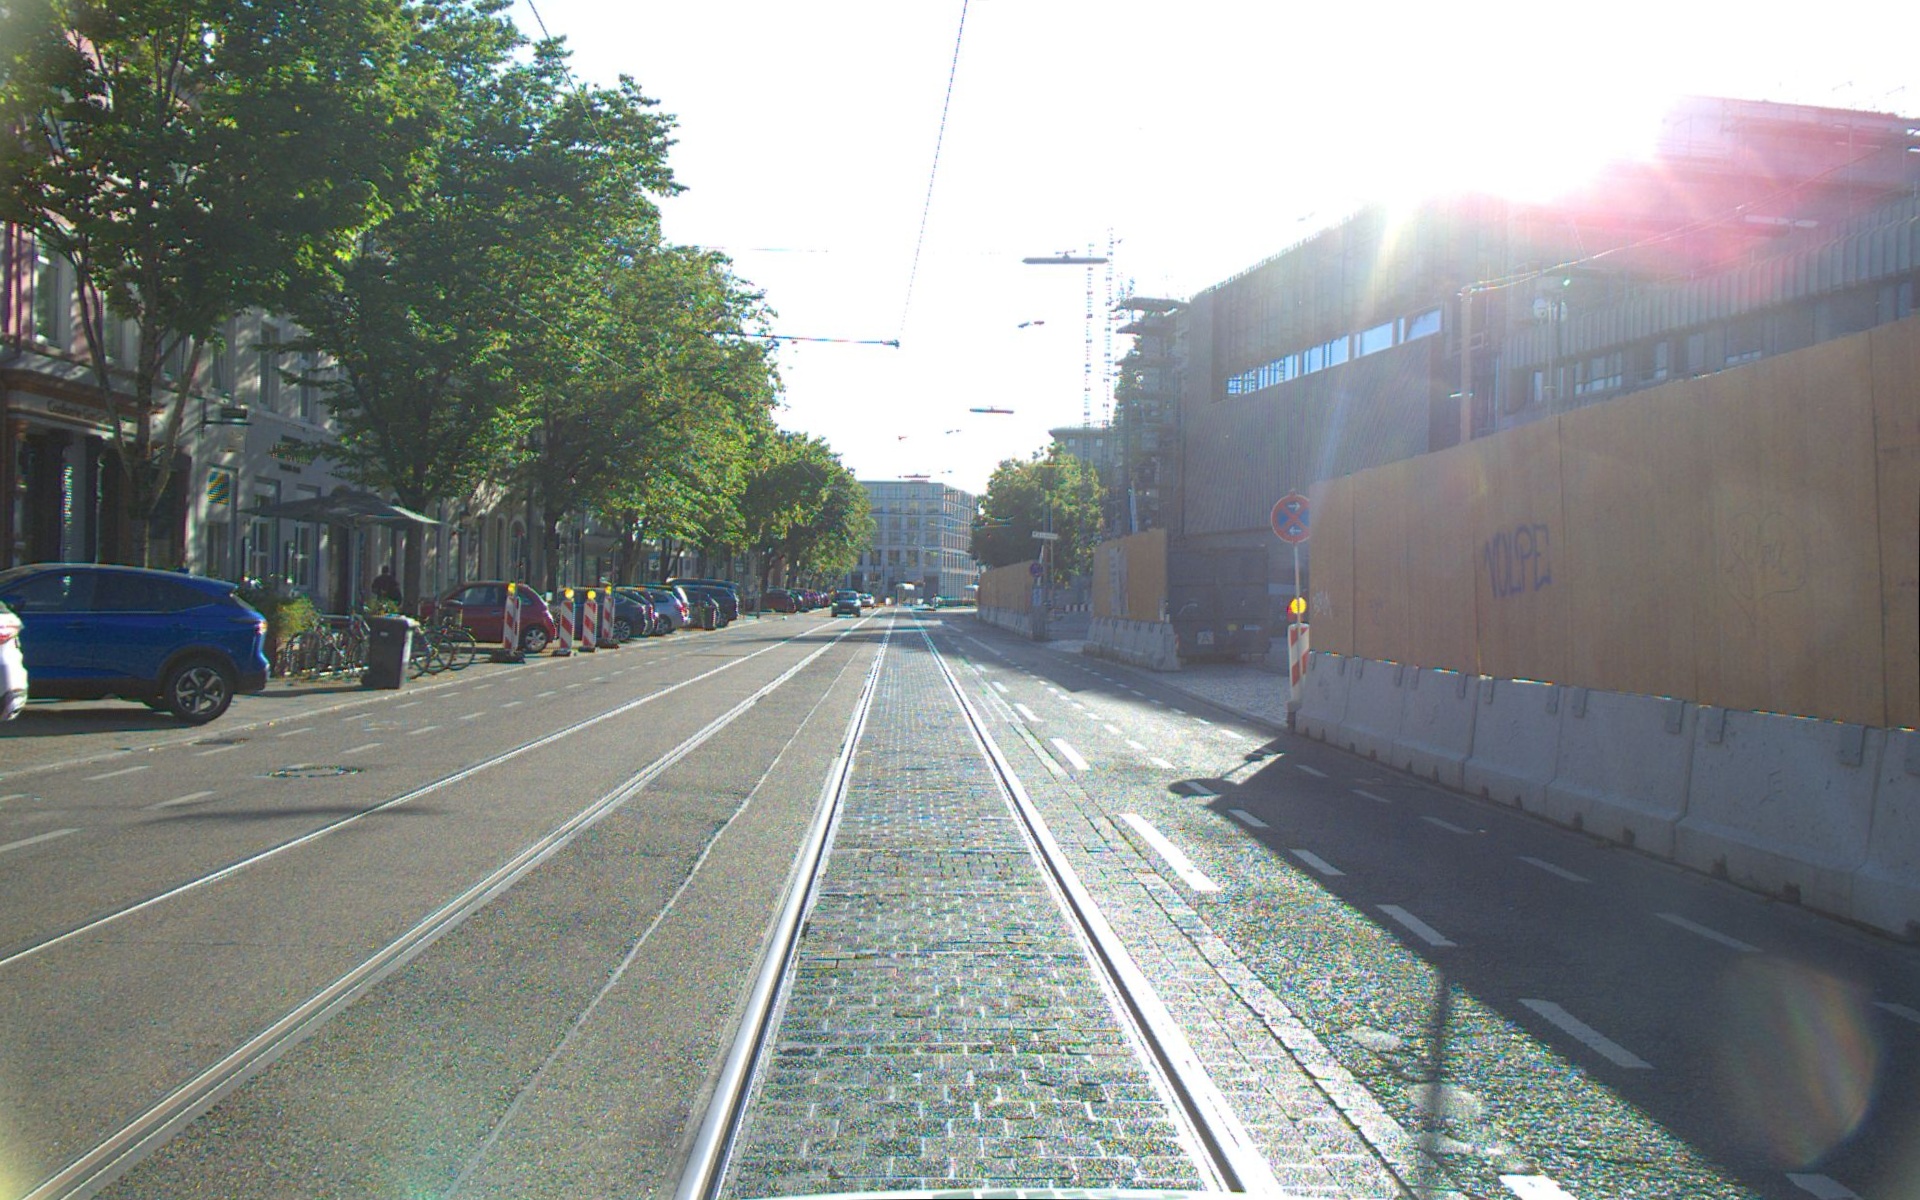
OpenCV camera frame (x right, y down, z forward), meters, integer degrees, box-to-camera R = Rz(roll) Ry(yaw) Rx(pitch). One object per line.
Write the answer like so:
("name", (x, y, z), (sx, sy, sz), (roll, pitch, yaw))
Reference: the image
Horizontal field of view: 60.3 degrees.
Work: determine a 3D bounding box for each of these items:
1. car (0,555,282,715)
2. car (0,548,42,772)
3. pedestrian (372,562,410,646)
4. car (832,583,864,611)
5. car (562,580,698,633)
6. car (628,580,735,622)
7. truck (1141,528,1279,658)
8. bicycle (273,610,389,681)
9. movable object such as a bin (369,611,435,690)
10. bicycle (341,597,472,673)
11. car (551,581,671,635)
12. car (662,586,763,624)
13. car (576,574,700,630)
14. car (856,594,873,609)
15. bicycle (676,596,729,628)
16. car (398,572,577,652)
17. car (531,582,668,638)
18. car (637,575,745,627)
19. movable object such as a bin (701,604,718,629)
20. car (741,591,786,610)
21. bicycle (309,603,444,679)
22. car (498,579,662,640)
("car", (-9.644, 0.381, 18.031), (3.864, 1.637, 1.551), (3, -2, -39))
("car", (-10.207, 0.442, 13.229), (4.879, 1.826, 2.184), (1, 0, -33))
("pedestrian", (-14.193, 0.098, 41.251), (0.716, 2.049, 0.556), (1, 0, -1))
("car", (-7.202, -0.231, 106.822), (1.889, 1.657, 4.247), (-2, 1, -3))
("car", (-11.017, 0.225, 55.220), (4.058, 1.539, 1.824), (3, 0, -29))
("car", (-11.743, 0.030, 69.674), (4.178, 1.714, 1.798), (0, 0, -23))
("truck", (6.148, -0.173, 41.392), (2.468, 2.959, 5.506), (-2, 0, -1))
("bicycle", (-9.562, 0.698, 25.189), (1.572, 1.005, 0.388), (2, 0, -13))
("movable object such as a bin", (-8.297, 0.740, 24.628), (0.670, 1.096, 0.710), (4, 0, -1))
("bicycle", (-9.430, 0.590, 28.203), (1.962, 1.106, 0.567), (5, 0, 0))
("car", (-11.035, 0.264, 52.318), (3.327, 1.519, 1.597), (3, 0, -30))
("car", (-10.105, 0.203, 67.393), (3.799, 1.502, 1.833), (0, 0, -20))
("car", (-11.375, 0.072, 58.670), (4.024, 1.707, 1.839), (3, 0, -5))
("car", (-9.698, 0.131, 167.914), (1.675, 1.461, 4.168), (1, 0, -4))
("bicycle", (-10.177, 0.478, 65.383), (1.937, 1.164, 0.490), (3, -1, -21))
("car", (-10.633, 0.274, 37.209), (3.572, 1.580, 1.654), (3, 1, -28))
("car", (-10.771, 0.298, 49.476), (3.635, 1.496, 1.735), (3, -1, -31))
("car", (-11.780, 0.044, 72.410), (4.296, 2.021, 1.935), (3, 0, -24))
("movable object such as a bin", (-9.807, 0.642, 64.741), (0.566, 0.929, 0.572), (3, 1, -18))
("car", (-13.632, 0.032, 114.602), (2.902, 1.355, 1.203), (0, 0, -30))
("bicycle", (-9.472, 0.662, 26.873), (1.928, 1.098, 0.568), (4, 0, 0))
("car", (-10.765, 0.279, 46.878), (4.143, 1.517, 1.925), (3, 0, -29))
